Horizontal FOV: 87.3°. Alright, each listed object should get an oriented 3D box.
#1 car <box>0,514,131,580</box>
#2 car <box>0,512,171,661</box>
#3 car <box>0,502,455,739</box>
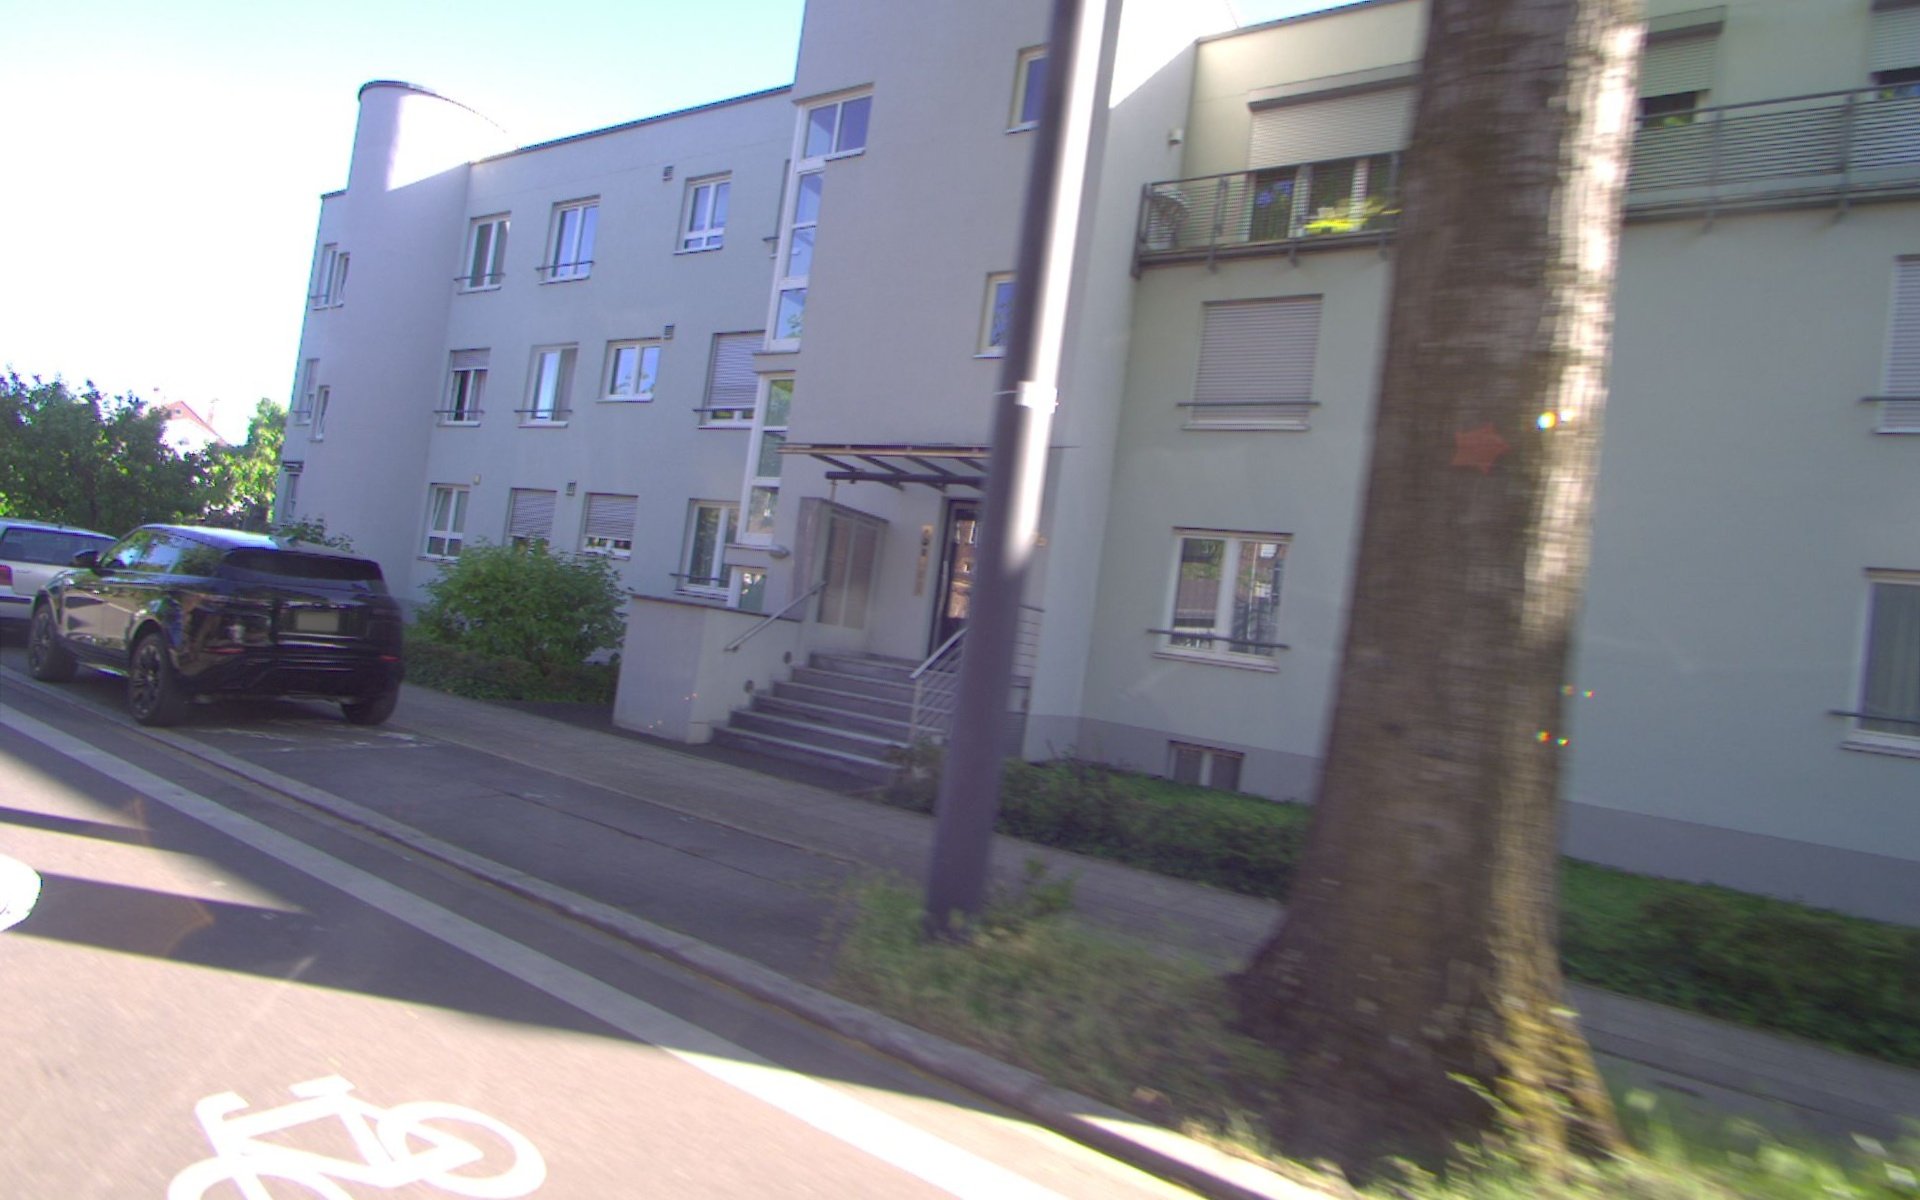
[{"bbox_3d":[-27.042,-1.576,29.182,1.971,1.507,4.468,4,-3,4],"label":"car"},{"bbox_3d":[-11.956,-0.314,12.574,4.455,1.512,1.742,6,-3,32],"label":"car"},{"bbox_3d":[-7.152,0.130,9.623,4.526,1.635,1.997,6,-2,33],"label":"car"}]
